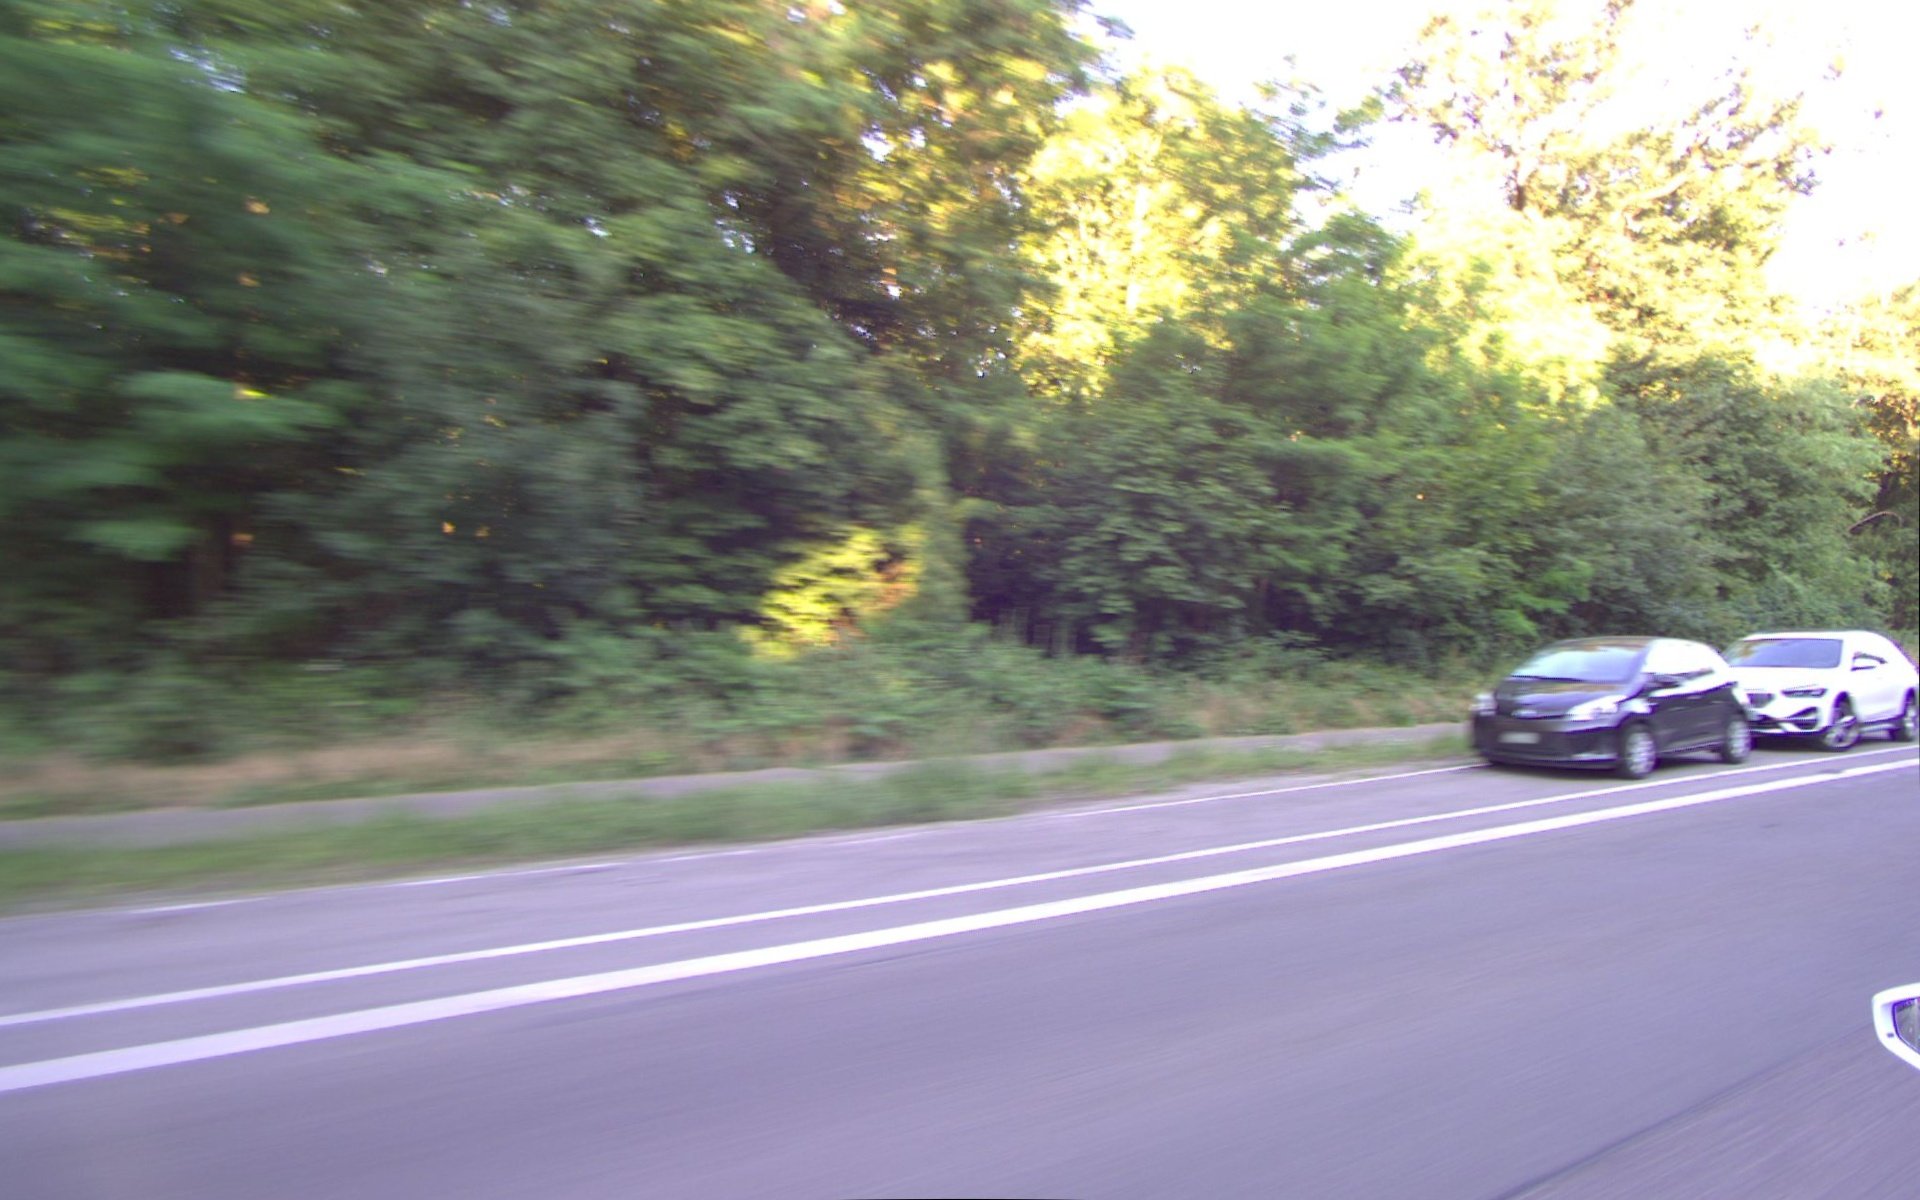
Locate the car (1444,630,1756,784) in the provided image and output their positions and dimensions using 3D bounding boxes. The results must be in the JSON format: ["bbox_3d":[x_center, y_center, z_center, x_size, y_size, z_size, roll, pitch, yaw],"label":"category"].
[{"bbox_3d":[7.533,1.138,11.764,3.694,1.540,1.663,1,-3,-32],"label":"car"}]

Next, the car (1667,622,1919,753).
[{"bbox_3d":[12.372,1.188,14.706,4.522,1.667,1.686,1,-3,-32],"label":"car"}]
